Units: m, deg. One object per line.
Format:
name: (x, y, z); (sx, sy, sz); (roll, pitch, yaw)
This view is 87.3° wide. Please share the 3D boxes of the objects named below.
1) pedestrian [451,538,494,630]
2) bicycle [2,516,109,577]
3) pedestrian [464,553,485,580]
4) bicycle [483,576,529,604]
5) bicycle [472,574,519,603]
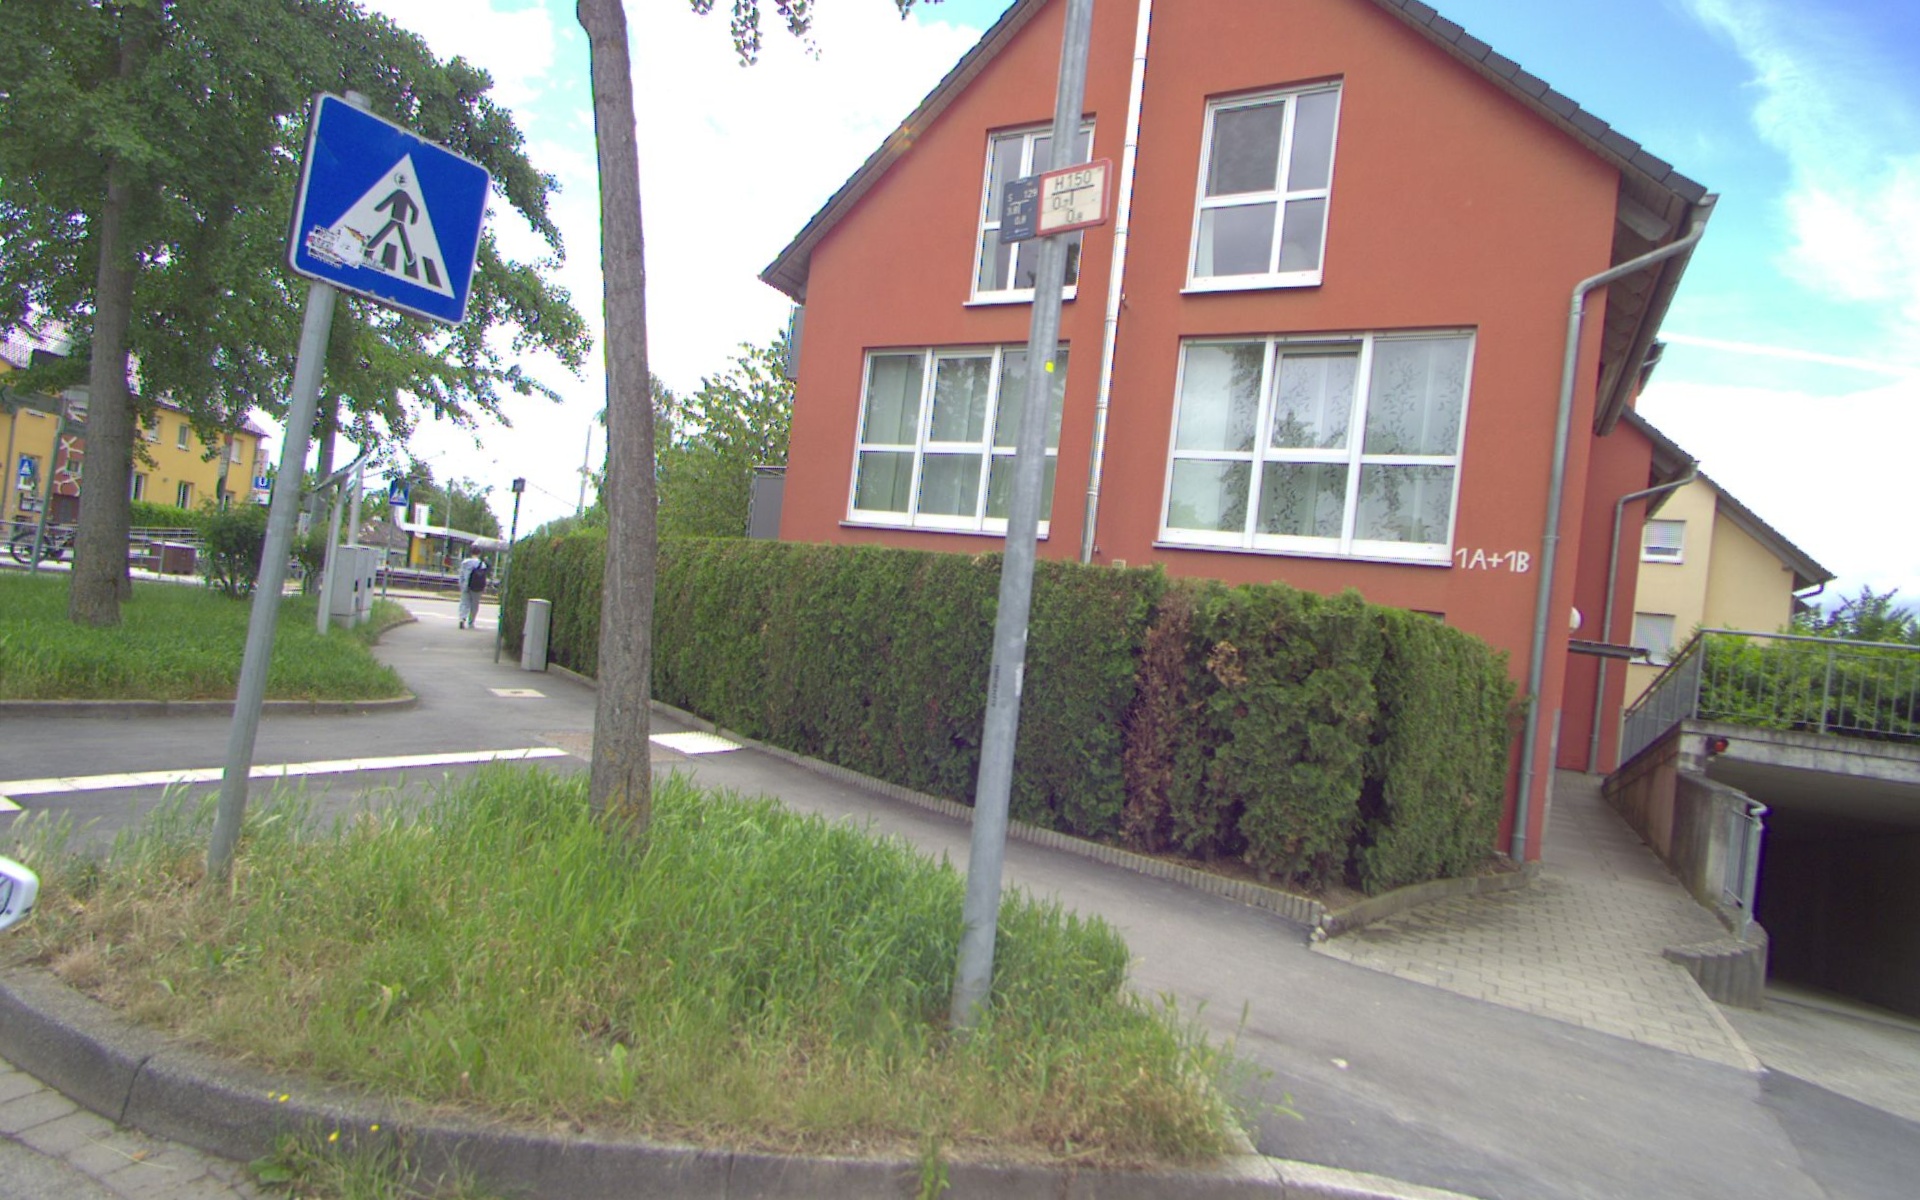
pedestrian: (-10.800, -0.351, 22.293); (0.617, 1.938, 0.827); (6, 0, -21)
bicycle: (-20.654, -1.204, 23.012); (0.458, 1.169, 1.692); (6, -1, 24)
pedestrian: (-33.814, -2.315, 70.043); (0.873, 1.690, 0.909); (7, -1, -7)
bicycle: (-20.693, -0.444, 45.819); (1.737, 1.054, 0.557); (7, -1, 2)
bicycle: (-20.725, -0.507, 44.917); (1.737, 1.054, 0.557); (7, -1, 2)
